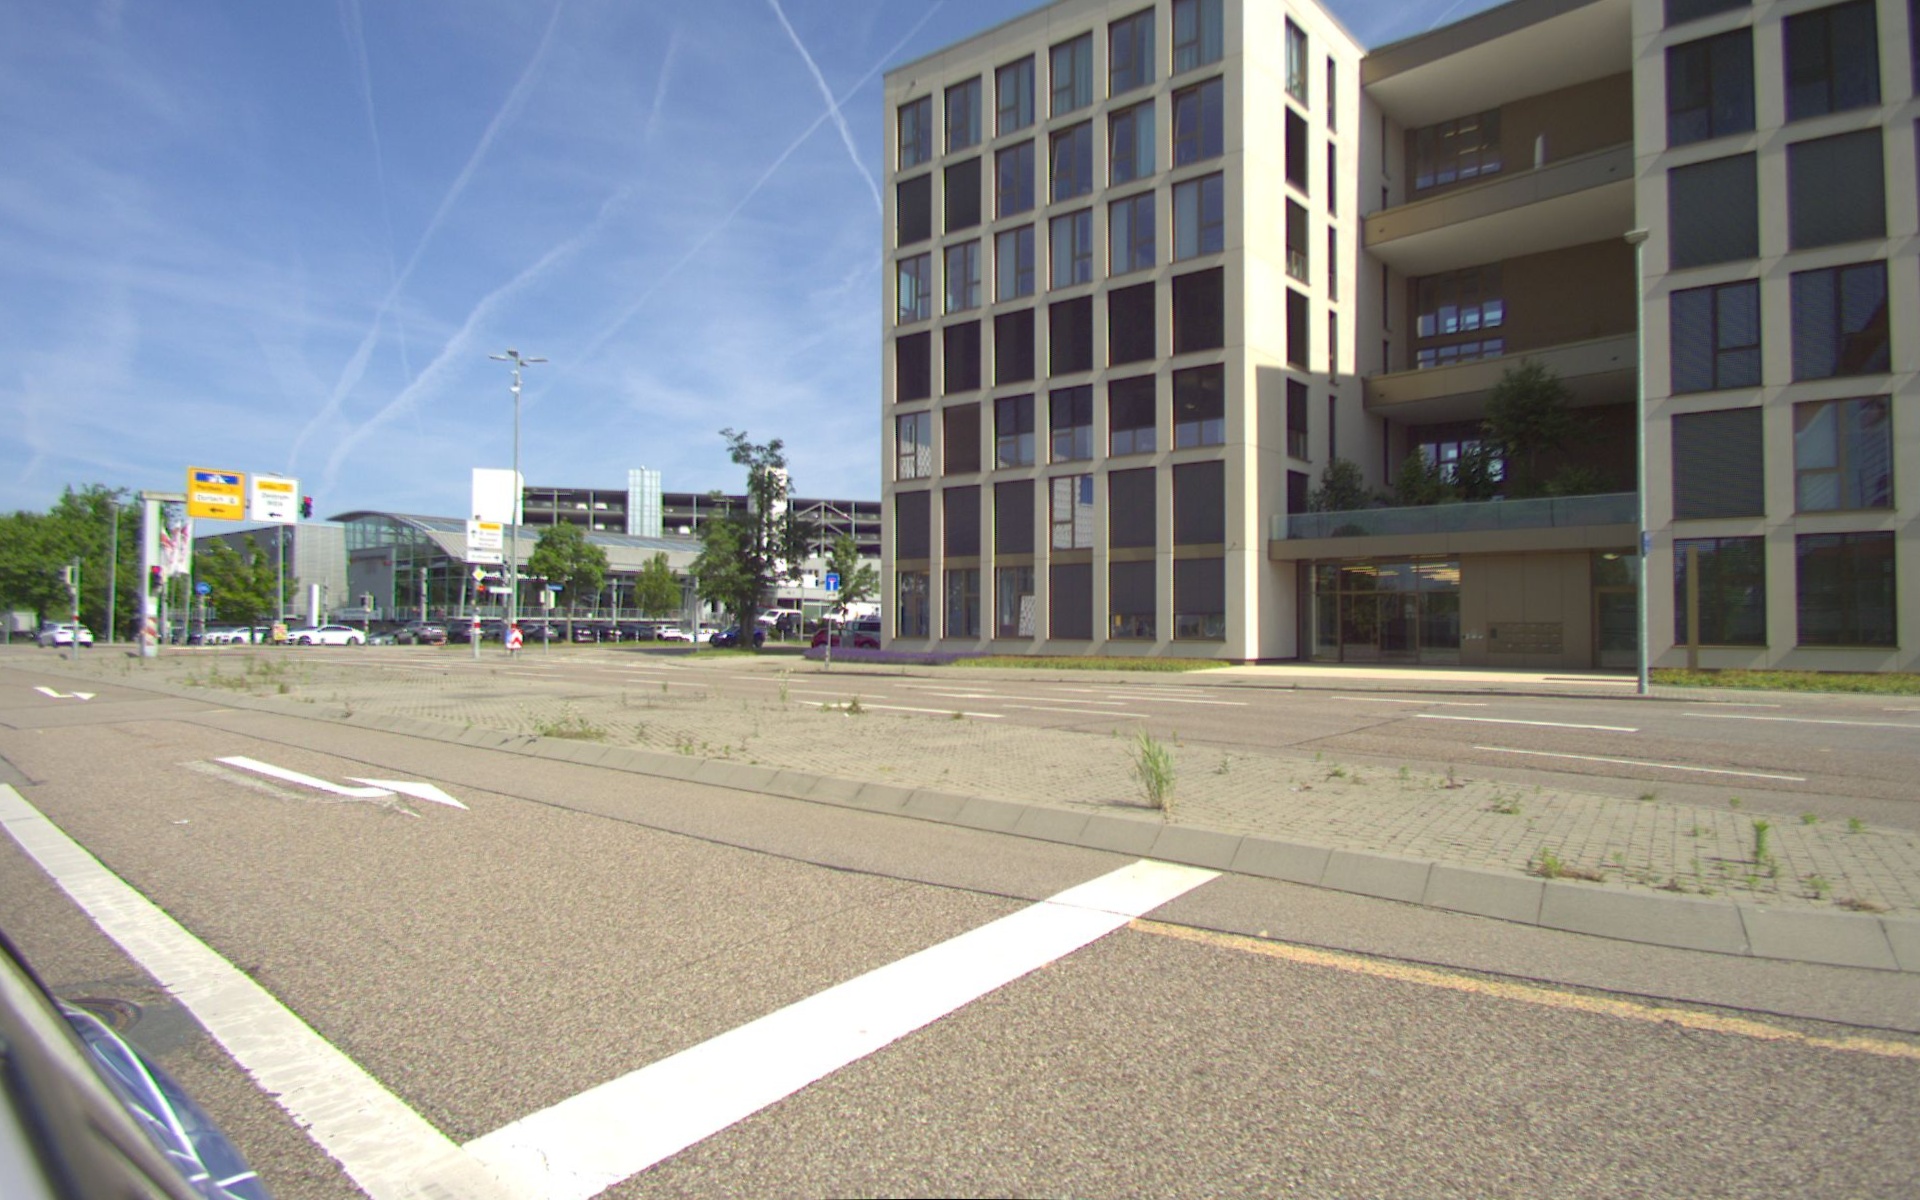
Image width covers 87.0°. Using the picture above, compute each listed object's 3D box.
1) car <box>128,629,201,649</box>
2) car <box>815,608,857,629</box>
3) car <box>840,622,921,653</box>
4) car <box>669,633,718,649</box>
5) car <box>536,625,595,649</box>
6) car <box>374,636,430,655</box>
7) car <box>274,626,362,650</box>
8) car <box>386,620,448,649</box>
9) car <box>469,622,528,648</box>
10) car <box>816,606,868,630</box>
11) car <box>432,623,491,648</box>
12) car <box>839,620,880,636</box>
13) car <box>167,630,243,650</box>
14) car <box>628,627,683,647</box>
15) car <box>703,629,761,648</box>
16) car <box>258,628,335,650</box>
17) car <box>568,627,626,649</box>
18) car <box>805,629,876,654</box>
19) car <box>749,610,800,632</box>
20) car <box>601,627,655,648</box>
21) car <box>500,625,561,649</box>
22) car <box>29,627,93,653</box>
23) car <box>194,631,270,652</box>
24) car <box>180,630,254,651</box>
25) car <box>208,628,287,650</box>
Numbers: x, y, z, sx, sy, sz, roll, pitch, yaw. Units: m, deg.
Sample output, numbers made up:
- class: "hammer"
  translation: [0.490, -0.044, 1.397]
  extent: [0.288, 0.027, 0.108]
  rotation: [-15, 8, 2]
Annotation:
- class: "car"
  translation: [-62.864, 3.064, 80.048]
  extent: [1.798, 1.405, 4.179]
  rotation: [-1, -5, 35]
- class: "car"
  translation: [-14.105, 2.151, 115.246]
  extent: [2.155, 2.296, 4.633]
  rotation: [-2, -3, 36]
- class: "car"
  translation: [-4.866, 2.288, 61.554]
  extent: [4.738, 1.835, 1.901]
  rotation: [0, -2, -8]
- class: "car"
  translation: [-23.949, 3.680, 90.988]
  extent: [3.957, 1.453, 1.803]
  rotation: [1, -2, -25]
- class: "car"
  translation: [-29.045, 2.729, 74.430]
  extent: [4.663, 1.529, 1.762]
  rotation: [-4, -4, 35]
- class: "car"
  translation: [-43.634, 3.531, 79.132]
  extent: [1.656, 1.484, 3.478]
  rotation: [-1, -2, 34]
- class: "car"
  translation: [-40.915, 2.437, 64.550]
  extent: [1.897, 1.443, 4.332]
  rotation: [-2, -3, 37]
- class: "car"
  translation: [-35.211, 2.248, 65.600]
  extent: [4.586, 1.626, 1.797]
  rotation: [-5, -5, 36]
- class: "car"
  translation: [-31.930, 2.427, 69.941]
  extent: [4.365, 1.556, 1.772]
  rotation: [-4, -4, 35]
- class: "car"
  translation: [-11.950, 1.855, 103.004]
  extent: [2.085, 2.360, 5.483]
  rotation: [-2, -2, 36]
- class: "car"
  translation: [-33.236, 2.374, 67.442]
  extent: [4.190, 1.453, 1.772]
  rotation: [-4, -4, 35]
- class: "car"
  translation: [-10.014, 2.809, 101.462]
  extent: [1.996, 1.586, 3.937]
  rotation: [-2, -1, 36]
- class: "car"
  translation: [-56.046, 2.985, 75.193]
  extent: [1.850, 1.345, 4.139]
  rotation: [-1, -5, 35]
- class: "car"
  translation: [-24.350, 2.979, 80.868]
  extent: [4.548, 1.453, 1.772]
  rotation: [-4, -4, 35]
- class: "car"
  translation: [-16.024, 2.723, 71.176]
  extent: [1.659, 1.299, 3.752]
  rotation: [-1, -2, 41]
- class: "car"
  translation: [-43.072, 2.541, 65.805]
  extent: [1.759, 1.413, 3.802]
  rotation: [-1, -3, 34]
- class: "car"
  translation: [-27.454, 2.862, 76.455]
  extent: [4.621, 1.453, 1.772]
  rotation: [-4, -4, 35]
- class: "car"
  translation: [-6.904, 2.397, 58.509]
  extent: [3.967, 1.426, 1.810]
  rotation: [0, -2, -6]
- class: "car"
  translation: [-16.993, 1.894, 92.823]
  extent: [2.083, 1.922, 4.496]
  rotation: [3, 1, 33]
- class: "car"
  translation: [-25.825, 2.924, 78.618]
  extent: [4.391, 1.453, 1.772]
  rotation: [-4, -4, 35]
- class: "car"
  translation: [-30.618, 2.663, 72.093]
  extent: [4.766, 1.517, 1.772]
  rotation: [-4, -4, 35]
- class: "car"
  translation: [-54.299, 2.429, 61.120]
  extent: [4.321, 1.472, 1.767]
  rotation: [-1, -4, 33]
- class: "car"
  translation: [-51.721, 2.930, 71.926]
  extent: [1.864, 1.329, 3.952]
  rotation: [-1, -5, 35]
- class: "car"
  translation: [-53.833, 2.938, 73.384]
  extent: [1.834, 1.329, 3.950]
  rotation: [-1, -5, 36]
- class: "car"
  translation: [-49.559, 2.748, 70.448]
  extent: [1.874, 1.380, 4.037]
  rotation: [-1, -5, 35]
